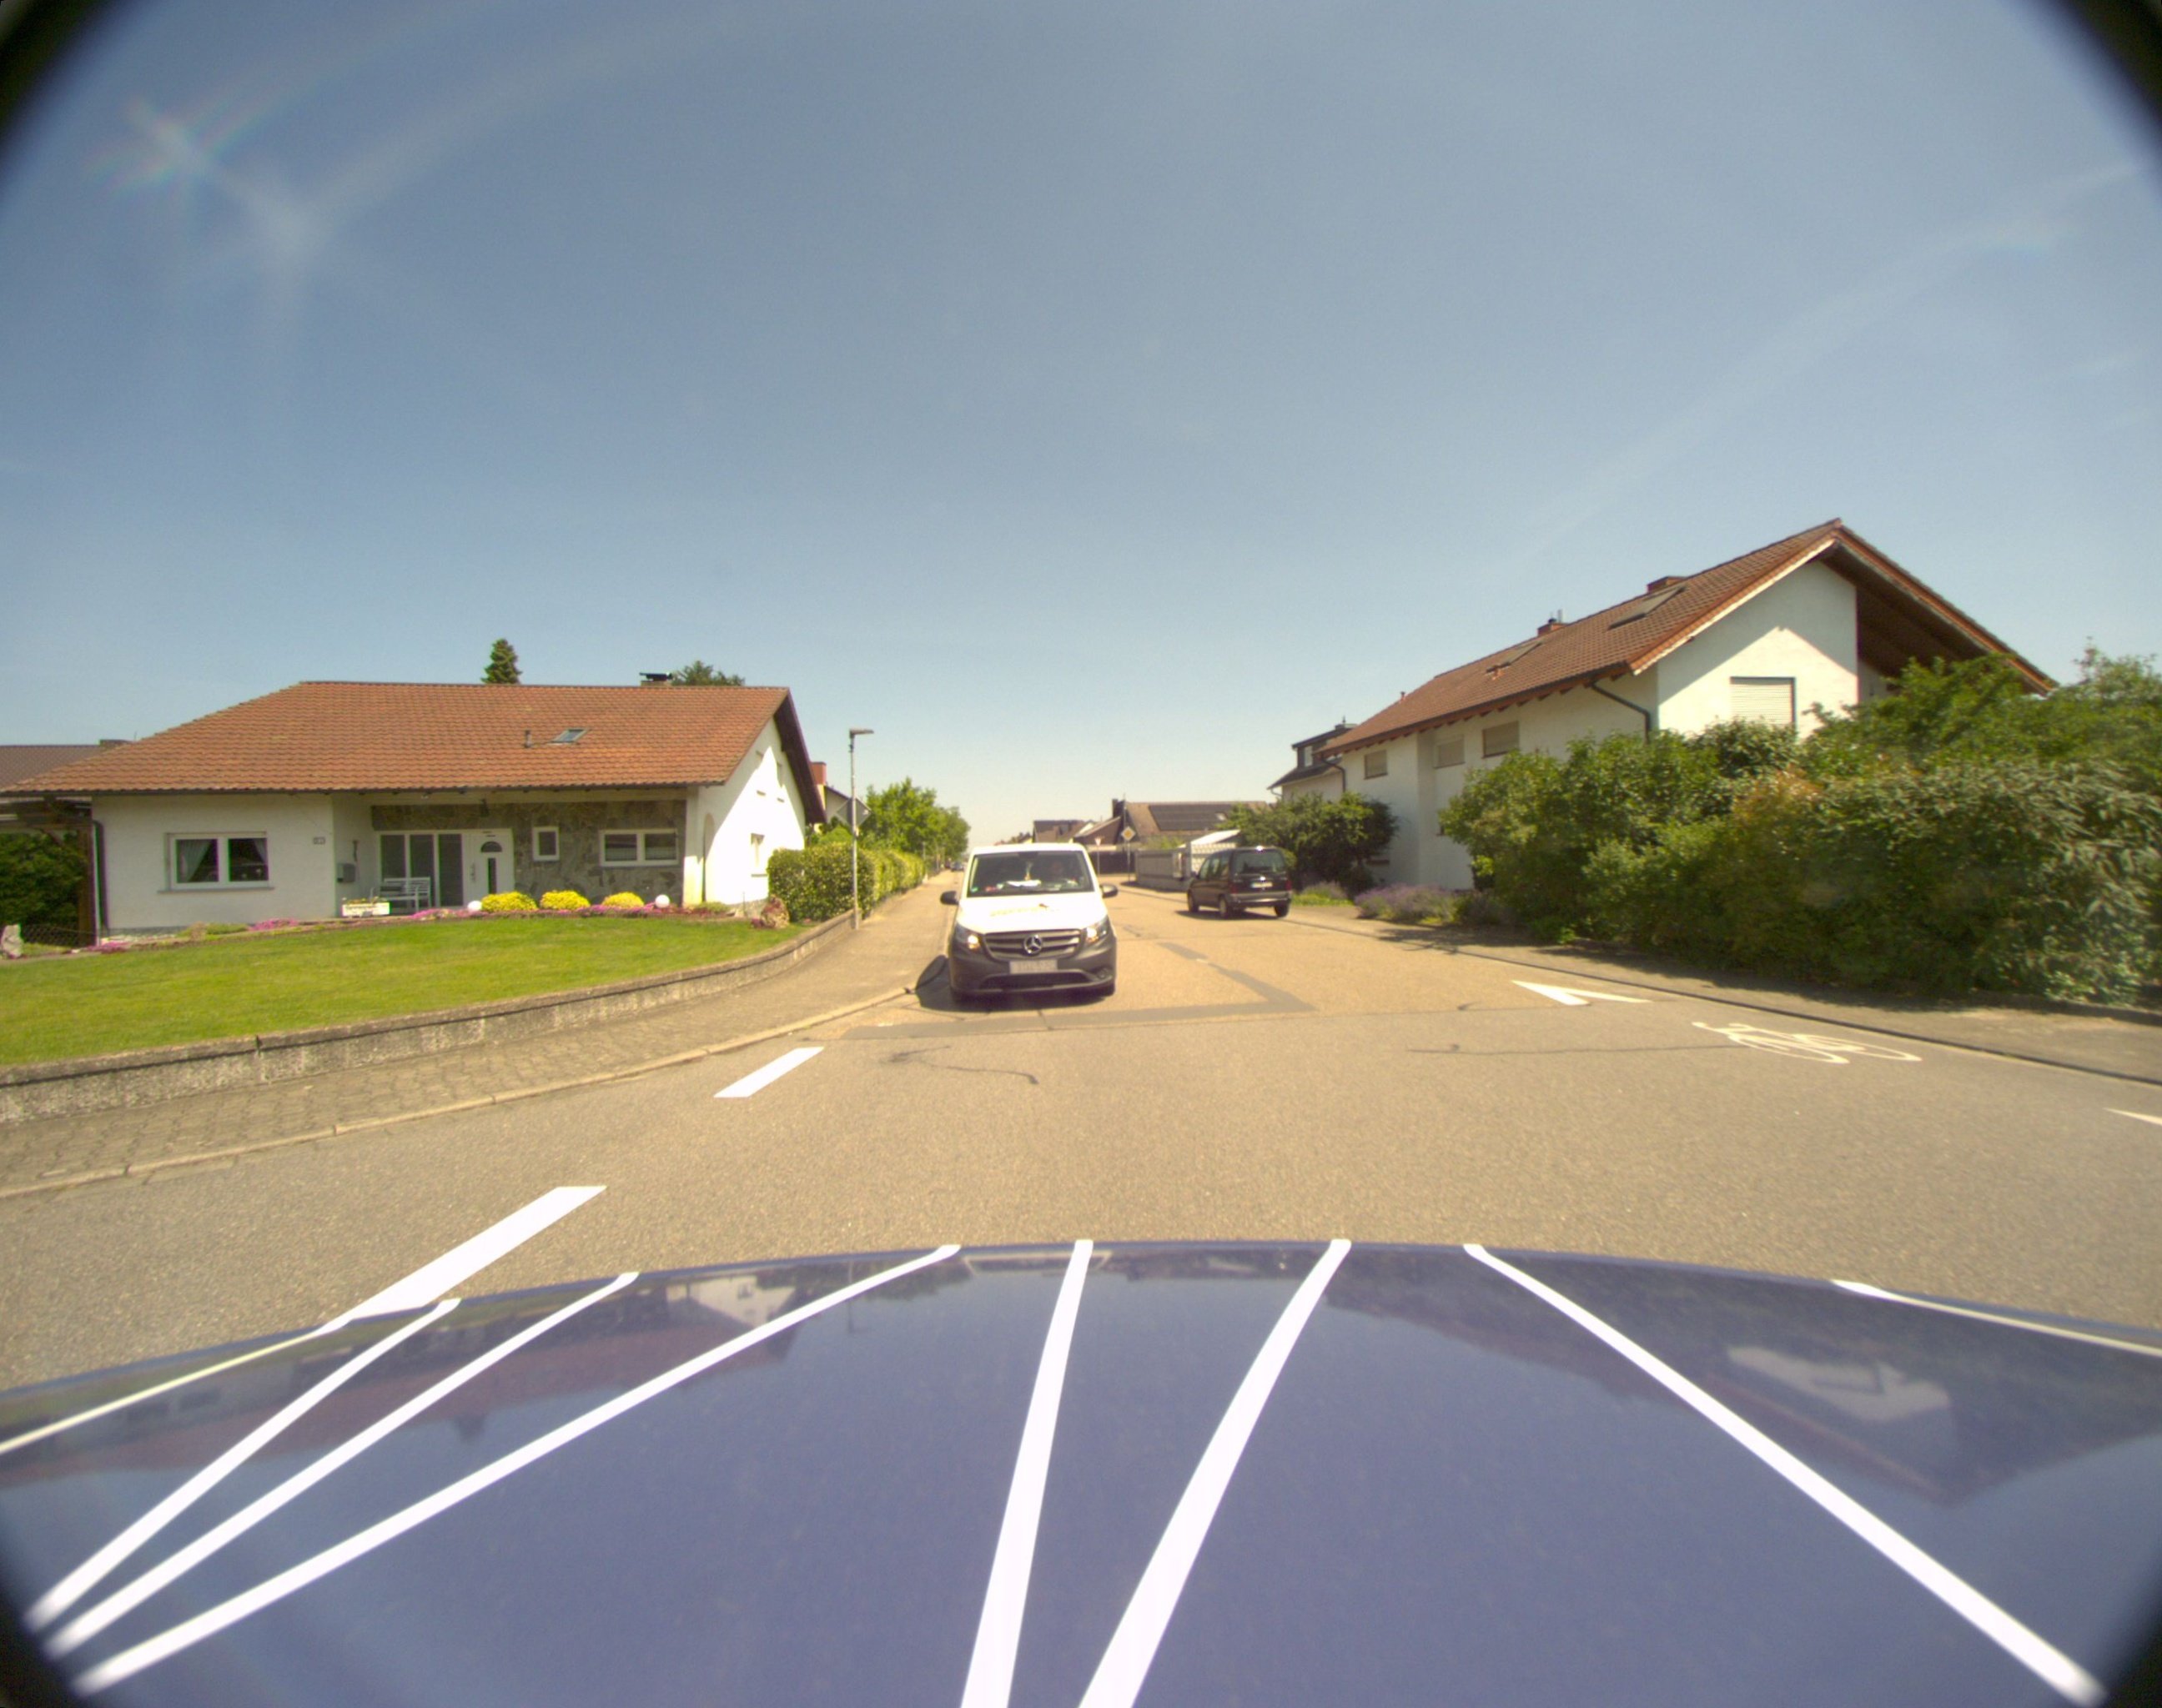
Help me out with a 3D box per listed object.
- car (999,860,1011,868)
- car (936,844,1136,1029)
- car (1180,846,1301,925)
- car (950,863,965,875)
[{"bbox_3d":[-13.402,1.744,134.137,2.000,1.390,3.997,-2,0,-6],"label":"car"},{"bbox_3d":[-0.654,0.826,10.367,2.019,1.846,5.065,-1,1,-5],"label":"car"},{"bbox_3d":[4.102,0.752,20.236,1.724,1.835,4.050,-2,0,-10],"label":"car"},{"bbox_3d":[-18.644,2.272,115.133,2.000,1.587,3.997,-1,1,-7],"label":"car"}]
